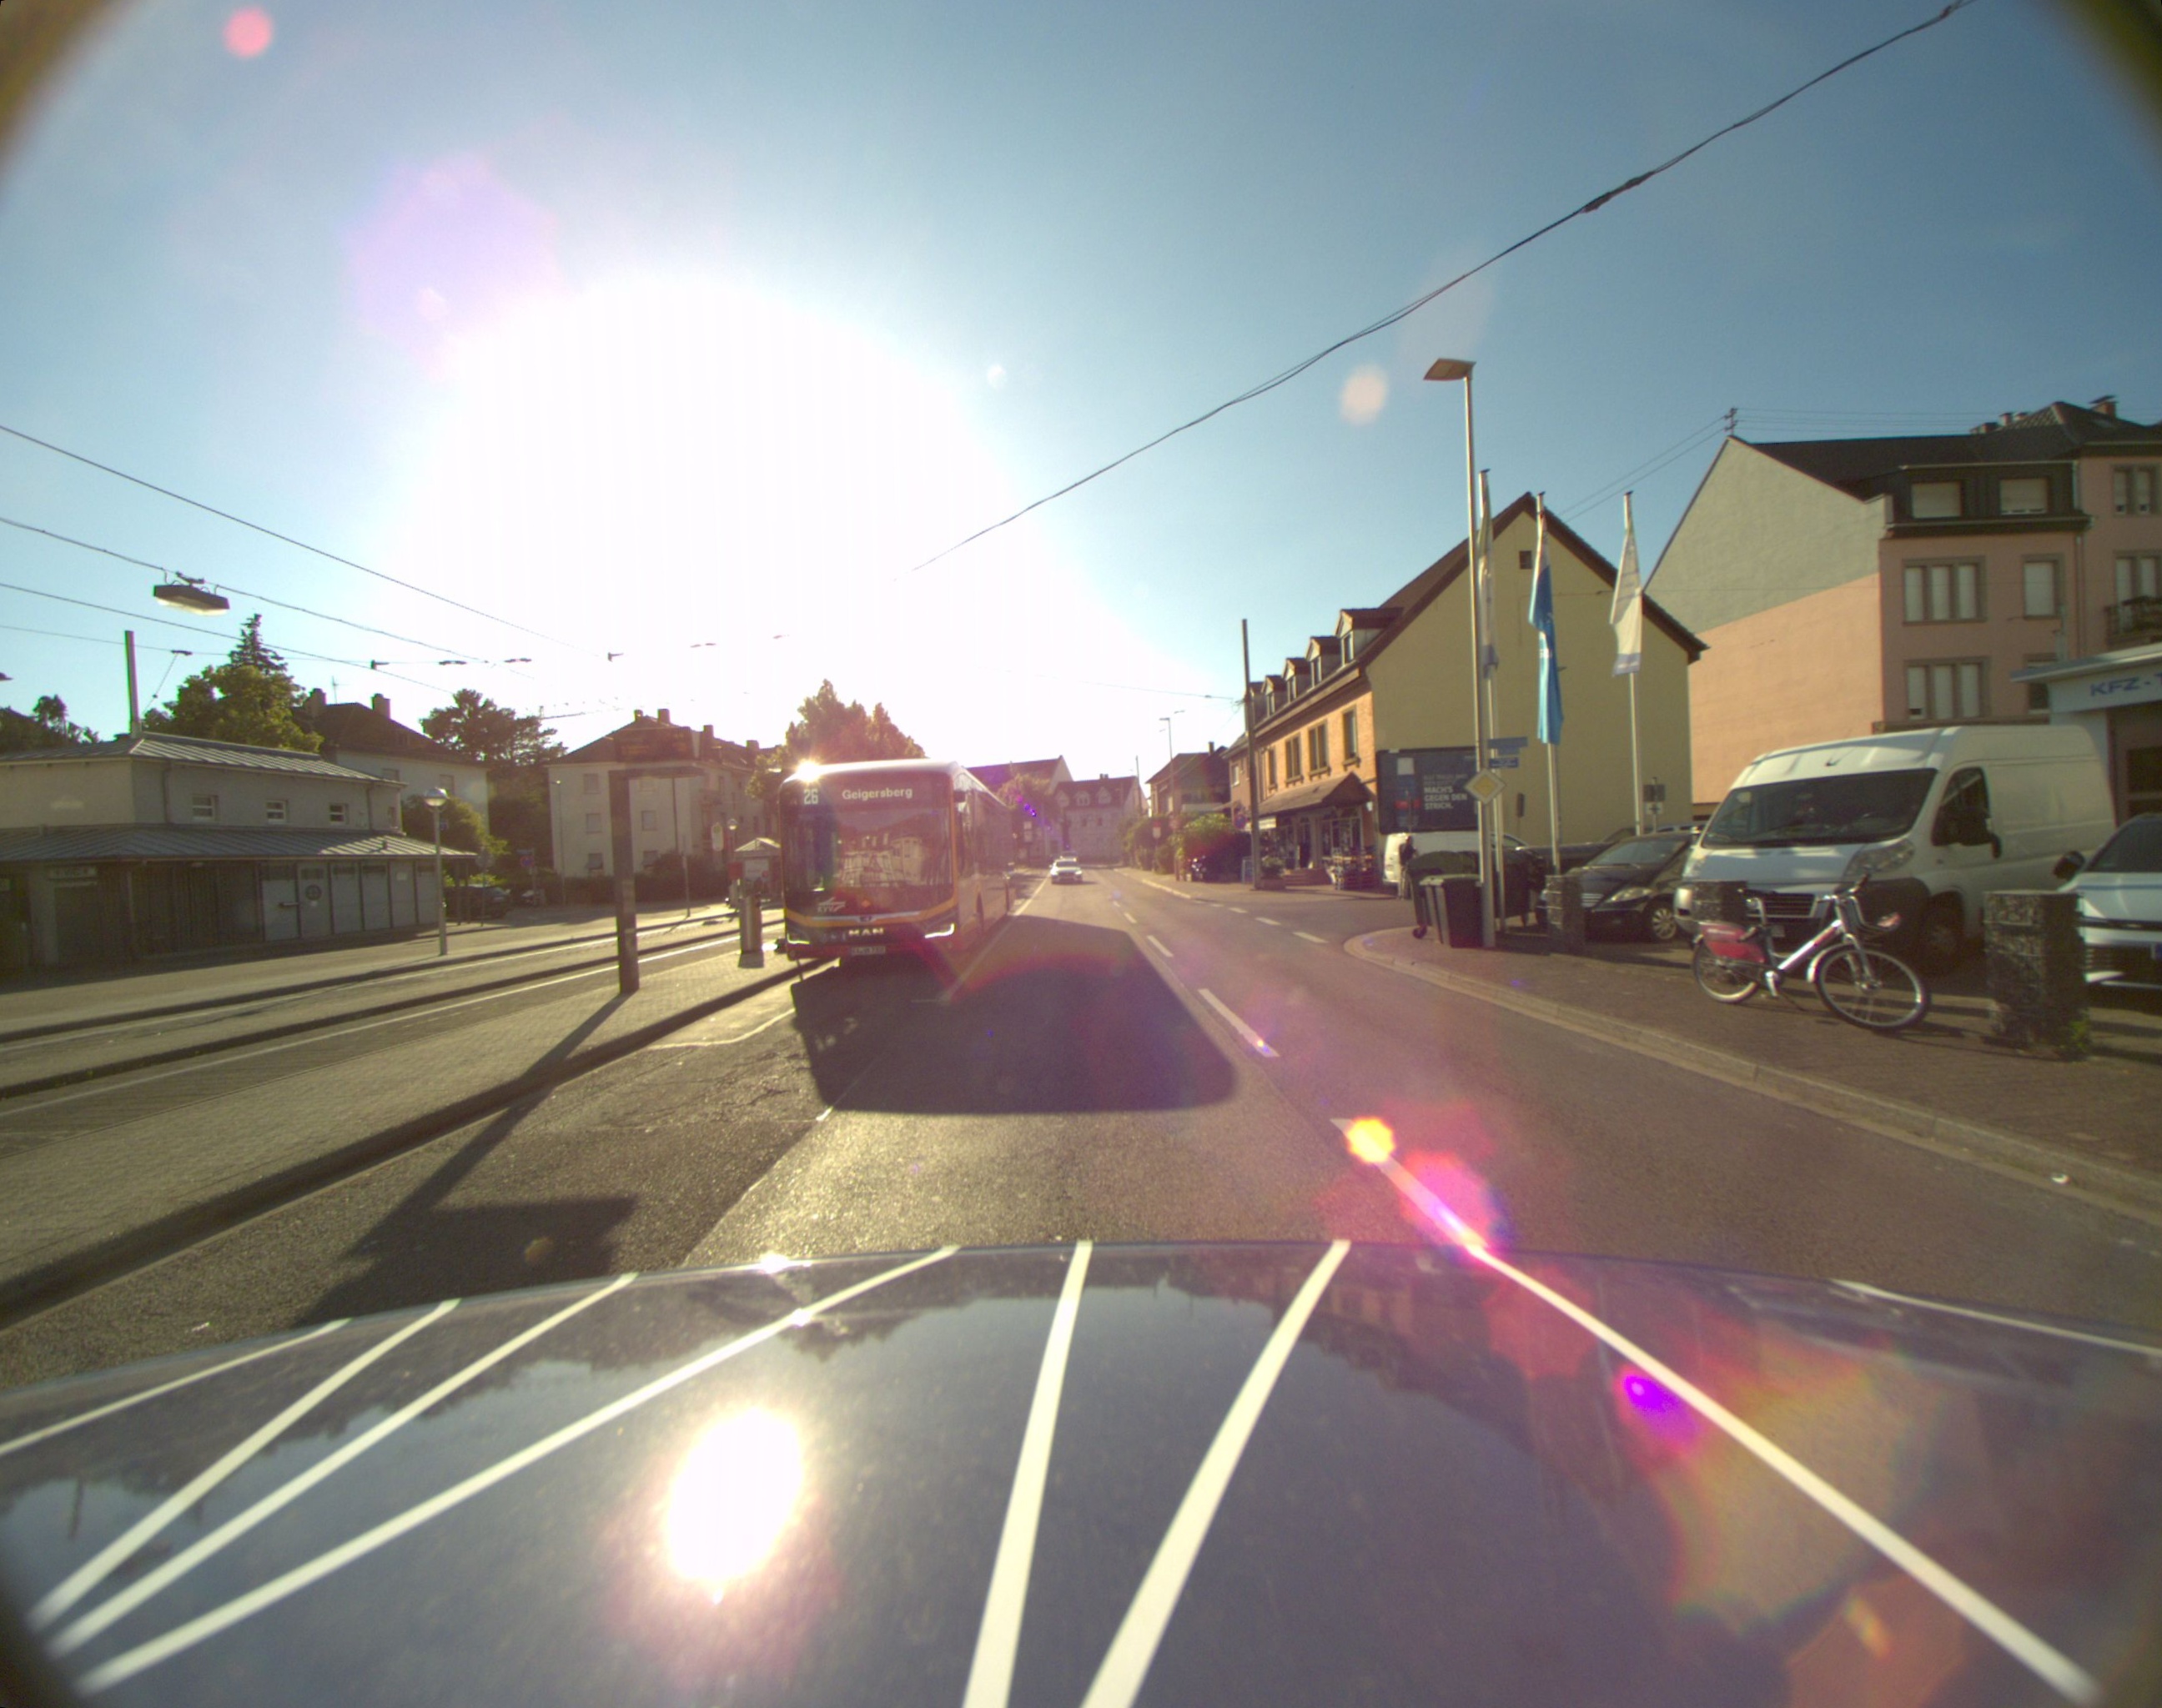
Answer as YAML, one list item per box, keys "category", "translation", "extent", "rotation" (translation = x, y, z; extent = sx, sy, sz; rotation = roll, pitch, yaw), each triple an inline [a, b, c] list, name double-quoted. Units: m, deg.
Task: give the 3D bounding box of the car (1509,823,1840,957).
- category: "car"
  translation: [8.783, 0.469, 11.333]
  extent: [4.001, 1.559, 1.771]
  rotation: [-4, 0, -15]

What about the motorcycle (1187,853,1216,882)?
- category: "motorcycle"
  translation: [5.845, 0.634, 37.013]
  extent: [0.841, 1.275, 2.231]
  rotation: [-4, 1, -4]

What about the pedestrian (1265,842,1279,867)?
- category: "pedestrian"
  translation: [9.664, 0.033, 38.445]
  extent: [0.524, 1.251, 0.465]
  rotation: [-3, 1, 1]

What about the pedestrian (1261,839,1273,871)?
- category: "pedestrian"
  translation: [9.289, 0.046, 37.935]
  extent: [0.465, 1.551, 0.502]
  rotation: [-2, 2, 1]

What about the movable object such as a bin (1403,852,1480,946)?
- category: "movable object such as a bin"
  translation: [6.153, 0.758, 12.934]
  extent: [1.056, 1.473, 1.315]
  rotation: [-4, -3, 28]

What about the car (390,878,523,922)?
- category: "car"
  translation: [-28.253, 2.067, 34.470]
  extent: [4.449, 1.759, 2.000]
  rotation: [-1, 1, 3]

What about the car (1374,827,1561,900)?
- category: "car"
  translation: [11.562, 0.274, 22.944]
  extent: [4.627, 1.922, 1.999]
  rotation: [-2, 1, -3]

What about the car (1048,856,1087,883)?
- category: "car"
  translation: [-0.759, 0.910, 46.511]
  extent: [1.998, 1.454, 4.450]
  rotation: [-3, 0, 3]

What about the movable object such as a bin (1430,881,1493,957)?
- category: "movable object such as a bin"
  translation: [5.619, 0.949, 11.243]
  extent: [0.641, 1.063, 0.581]
  rotation: [-3, -2, 11]

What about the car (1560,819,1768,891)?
- category: "car"
  translation: [17.694, 0.015, 23.204]
  extent: [4.974, 1.884, 1.999]
  rotation: [-2, 1, -5]

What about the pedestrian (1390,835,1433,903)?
- category: "pedestrian"
  translation: [9.394, 0.419, 21.611]
  extent: [0.794, 1.857, 0.820]
  rotation: [-3, 1, 2]

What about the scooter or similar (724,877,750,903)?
- category: "scooter or similar"
  translation: [-16.701, 1.744, 36.891]
  extent: [0.467, 1.201, 1.210]
  rotation: [-2, 1, 11]

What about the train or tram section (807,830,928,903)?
- category: "train or tram section"
  translation: [-12.239, 0.441, 45.852]
  extent: [2.965, 3.514, 15.964]
  rotation: [-2, 1, -1]

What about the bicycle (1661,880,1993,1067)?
- category: "bicycle"
  translation: [5.772, 0.839, 6.057]
  extent: [0.725, 1.171, 1.779]
  rotation: [-3, 1, -10]

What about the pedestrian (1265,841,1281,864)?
- category: "pedestrian"
  translation: [9.277, -0.082, 36.753]
  extent: [0.564, 1.103, 0.632]
  rotation: [-3, 1, 0]

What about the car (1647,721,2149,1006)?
- category: "car"
  translation: [9.124, -0.039, 8.483]
  extent: [5.076, 2.455, 2.105]
  rotation: [-4, 1, -22]

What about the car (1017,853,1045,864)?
- category: "car"
  translation: [-7.815, 0.681, 118.523]
  extent: [4.196, 1.454, 1.610]
  rotation: [-4, 0, 31]

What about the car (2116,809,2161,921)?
- category: "car"
  translation: [16.198, 0.098, 9.033]
  extent: [1.772, 1.559, 4.315]
  rotation: [-4, 0, -2]

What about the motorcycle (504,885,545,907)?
- category: "motorcycle"
  translation: [-31.647, 2.377, 43.238]
  extent: [1.827, 1.155, 0.558]
  rotation: [-3, 1, -3]

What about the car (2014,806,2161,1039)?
- category: "car"
  translation: [9.351, 0.391, 6.040]
  extent: [4.005, 1.559, 1.769]
  rotation: [-4, 0, -30]

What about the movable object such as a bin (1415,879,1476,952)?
- category: "movable object such as a bin"
  translation: [5.683, 0.949, 11.881]
  extent: [0.661, 1.056, 0.585]
  rotation: [-5, -1, 12]

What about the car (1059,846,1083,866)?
- category: "car"
  translation: [-1.146, 0.211, 81.932]
  extent: [1.872, 1.922, 4.789]
  rotation: [-4, 0, -7]

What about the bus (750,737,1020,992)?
- category: "bus"
  translation: [-3.183, 0.143, 16.472]
  extent: [2.695, 3.396, 12.017]
  rotation: [-3, 0, -1]
